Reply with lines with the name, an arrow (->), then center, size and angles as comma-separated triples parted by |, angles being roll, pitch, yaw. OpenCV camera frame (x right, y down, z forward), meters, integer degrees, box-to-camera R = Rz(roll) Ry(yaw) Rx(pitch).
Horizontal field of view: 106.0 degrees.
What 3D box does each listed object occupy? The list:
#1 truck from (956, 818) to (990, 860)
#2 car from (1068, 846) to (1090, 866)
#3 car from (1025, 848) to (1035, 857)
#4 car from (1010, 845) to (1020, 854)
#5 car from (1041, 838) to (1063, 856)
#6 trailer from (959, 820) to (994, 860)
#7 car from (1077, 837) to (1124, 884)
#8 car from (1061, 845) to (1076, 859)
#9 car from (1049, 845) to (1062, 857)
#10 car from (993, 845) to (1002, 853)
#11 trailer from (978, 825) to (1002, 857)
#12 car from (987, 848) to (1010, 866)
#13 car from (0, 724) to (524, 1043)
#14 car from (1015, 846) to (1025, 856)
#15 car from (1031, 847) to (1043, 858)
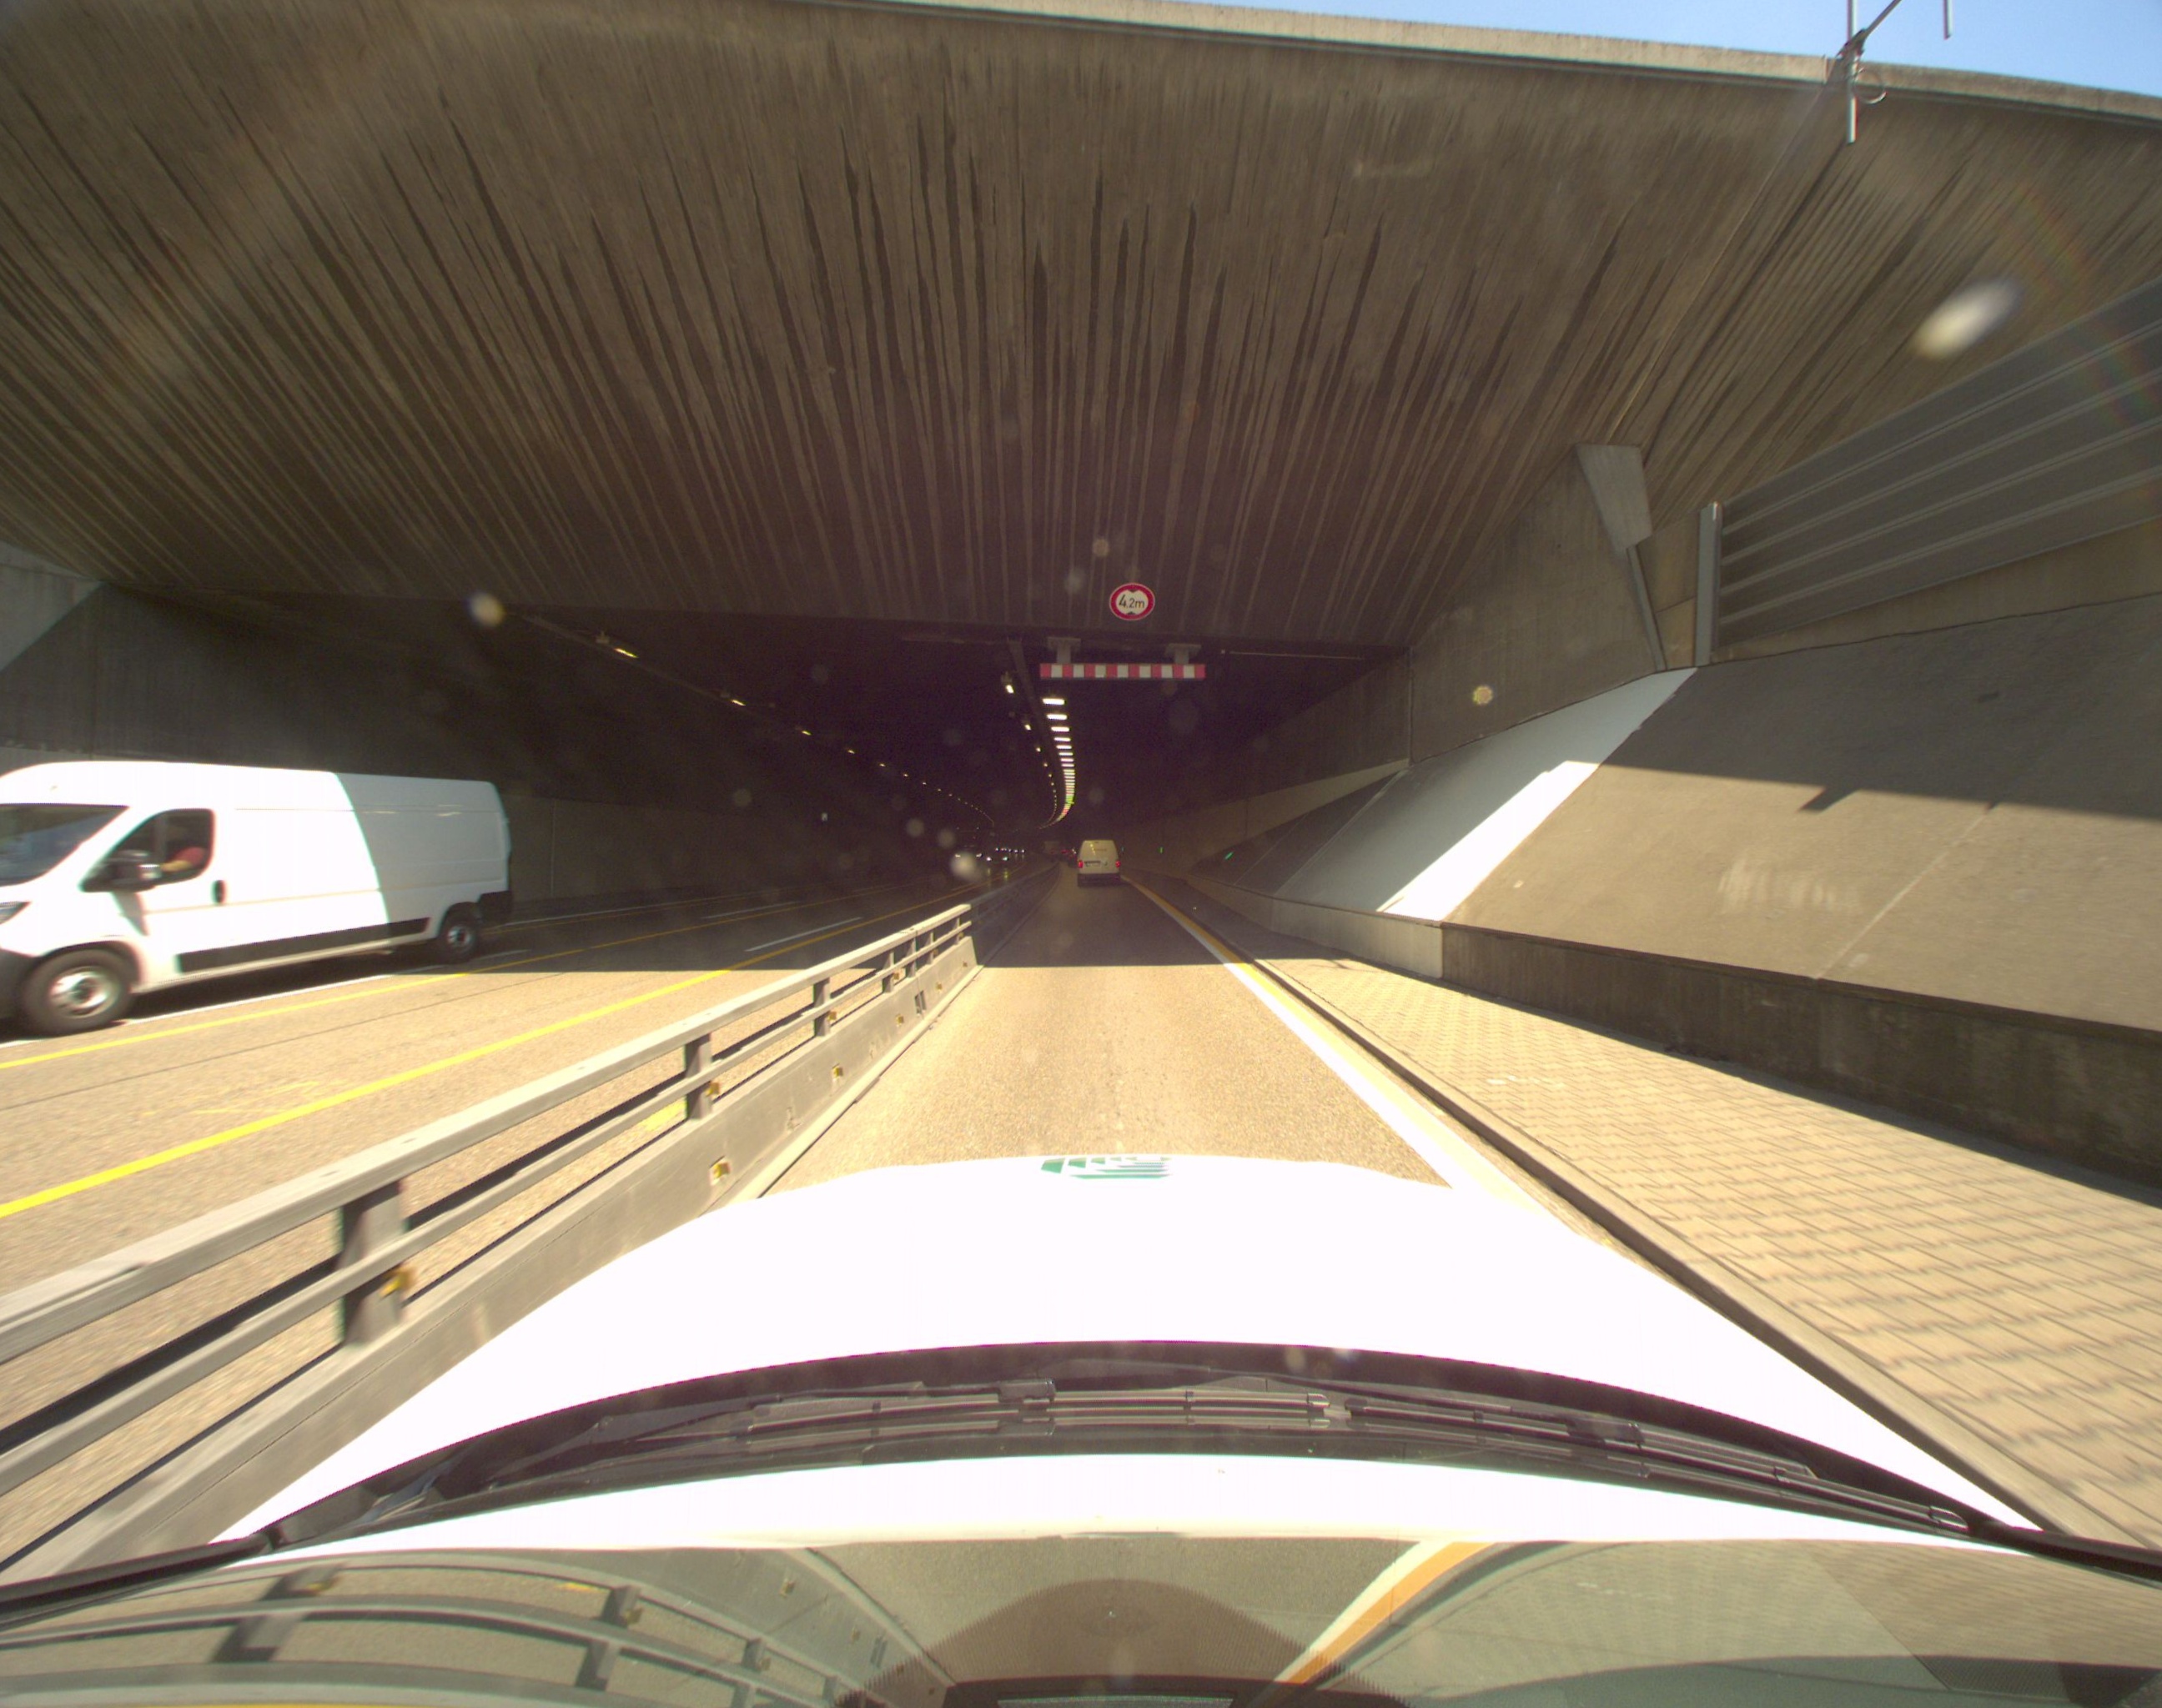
truck -> -10.576, -1.422, 80.066 | 2.805, 3.915, 6.447 | -1, 0, -4
car -> -0.188, 0.113, 65.556 | 1.594, 1.546, 3.675 | -1, 0, -2
car -> -11.505, -0.264, 183.784 | 1.939, 2.021, 4.648 | -1, 0, -9
car -> -15.339, -1.116, 189.014 | 1.927, 1.848, 4.346 | -2, 3, -10
car -> -4.721, -1.047, 132.287 | 2.812, 2.773, 7.080 | -2, 0, -8
trailer -> -11.081, -1.459, 87.979 | 2.808, 3.901, 15.438 | -1, 0, -4
car -> 0.802, 0.251, 33.594 | 1.802, 1.794, 3.732 | 1, 0, 1
car -> -1.420, -0.211, 91.873 | 1.594, 1.546, 3.674 | -1, 0, -3
car -> -3.546, -0.444, 114.333 | 1.596, 1.546, 3.671 | -1, 0, -5
car -> -19.577, -1.081, 190.585 | 1.808, 1.807, 5.051 | -1, 0, -9
trailer -> -12.734, -1.742, 114.846 | 2.639, 4.134, 15.438 | -1, 0, -4
car -> -6.992, 0.236, 69.141 | 1.818, 1.456, 4.086 | -1, 0, -5
car -> -9.440, 0.217, 9.187 | 1.986, 2.515, 6.044 | -1, 1, 1
car -> -12.259, -0.610, 162.475 | 1.806, 1.855, 5.057 | -1, 0, -6
car -> -9.148, -0.365, 168.540 | 2.033, 2.021, 4.620 | 3, 0, -7
